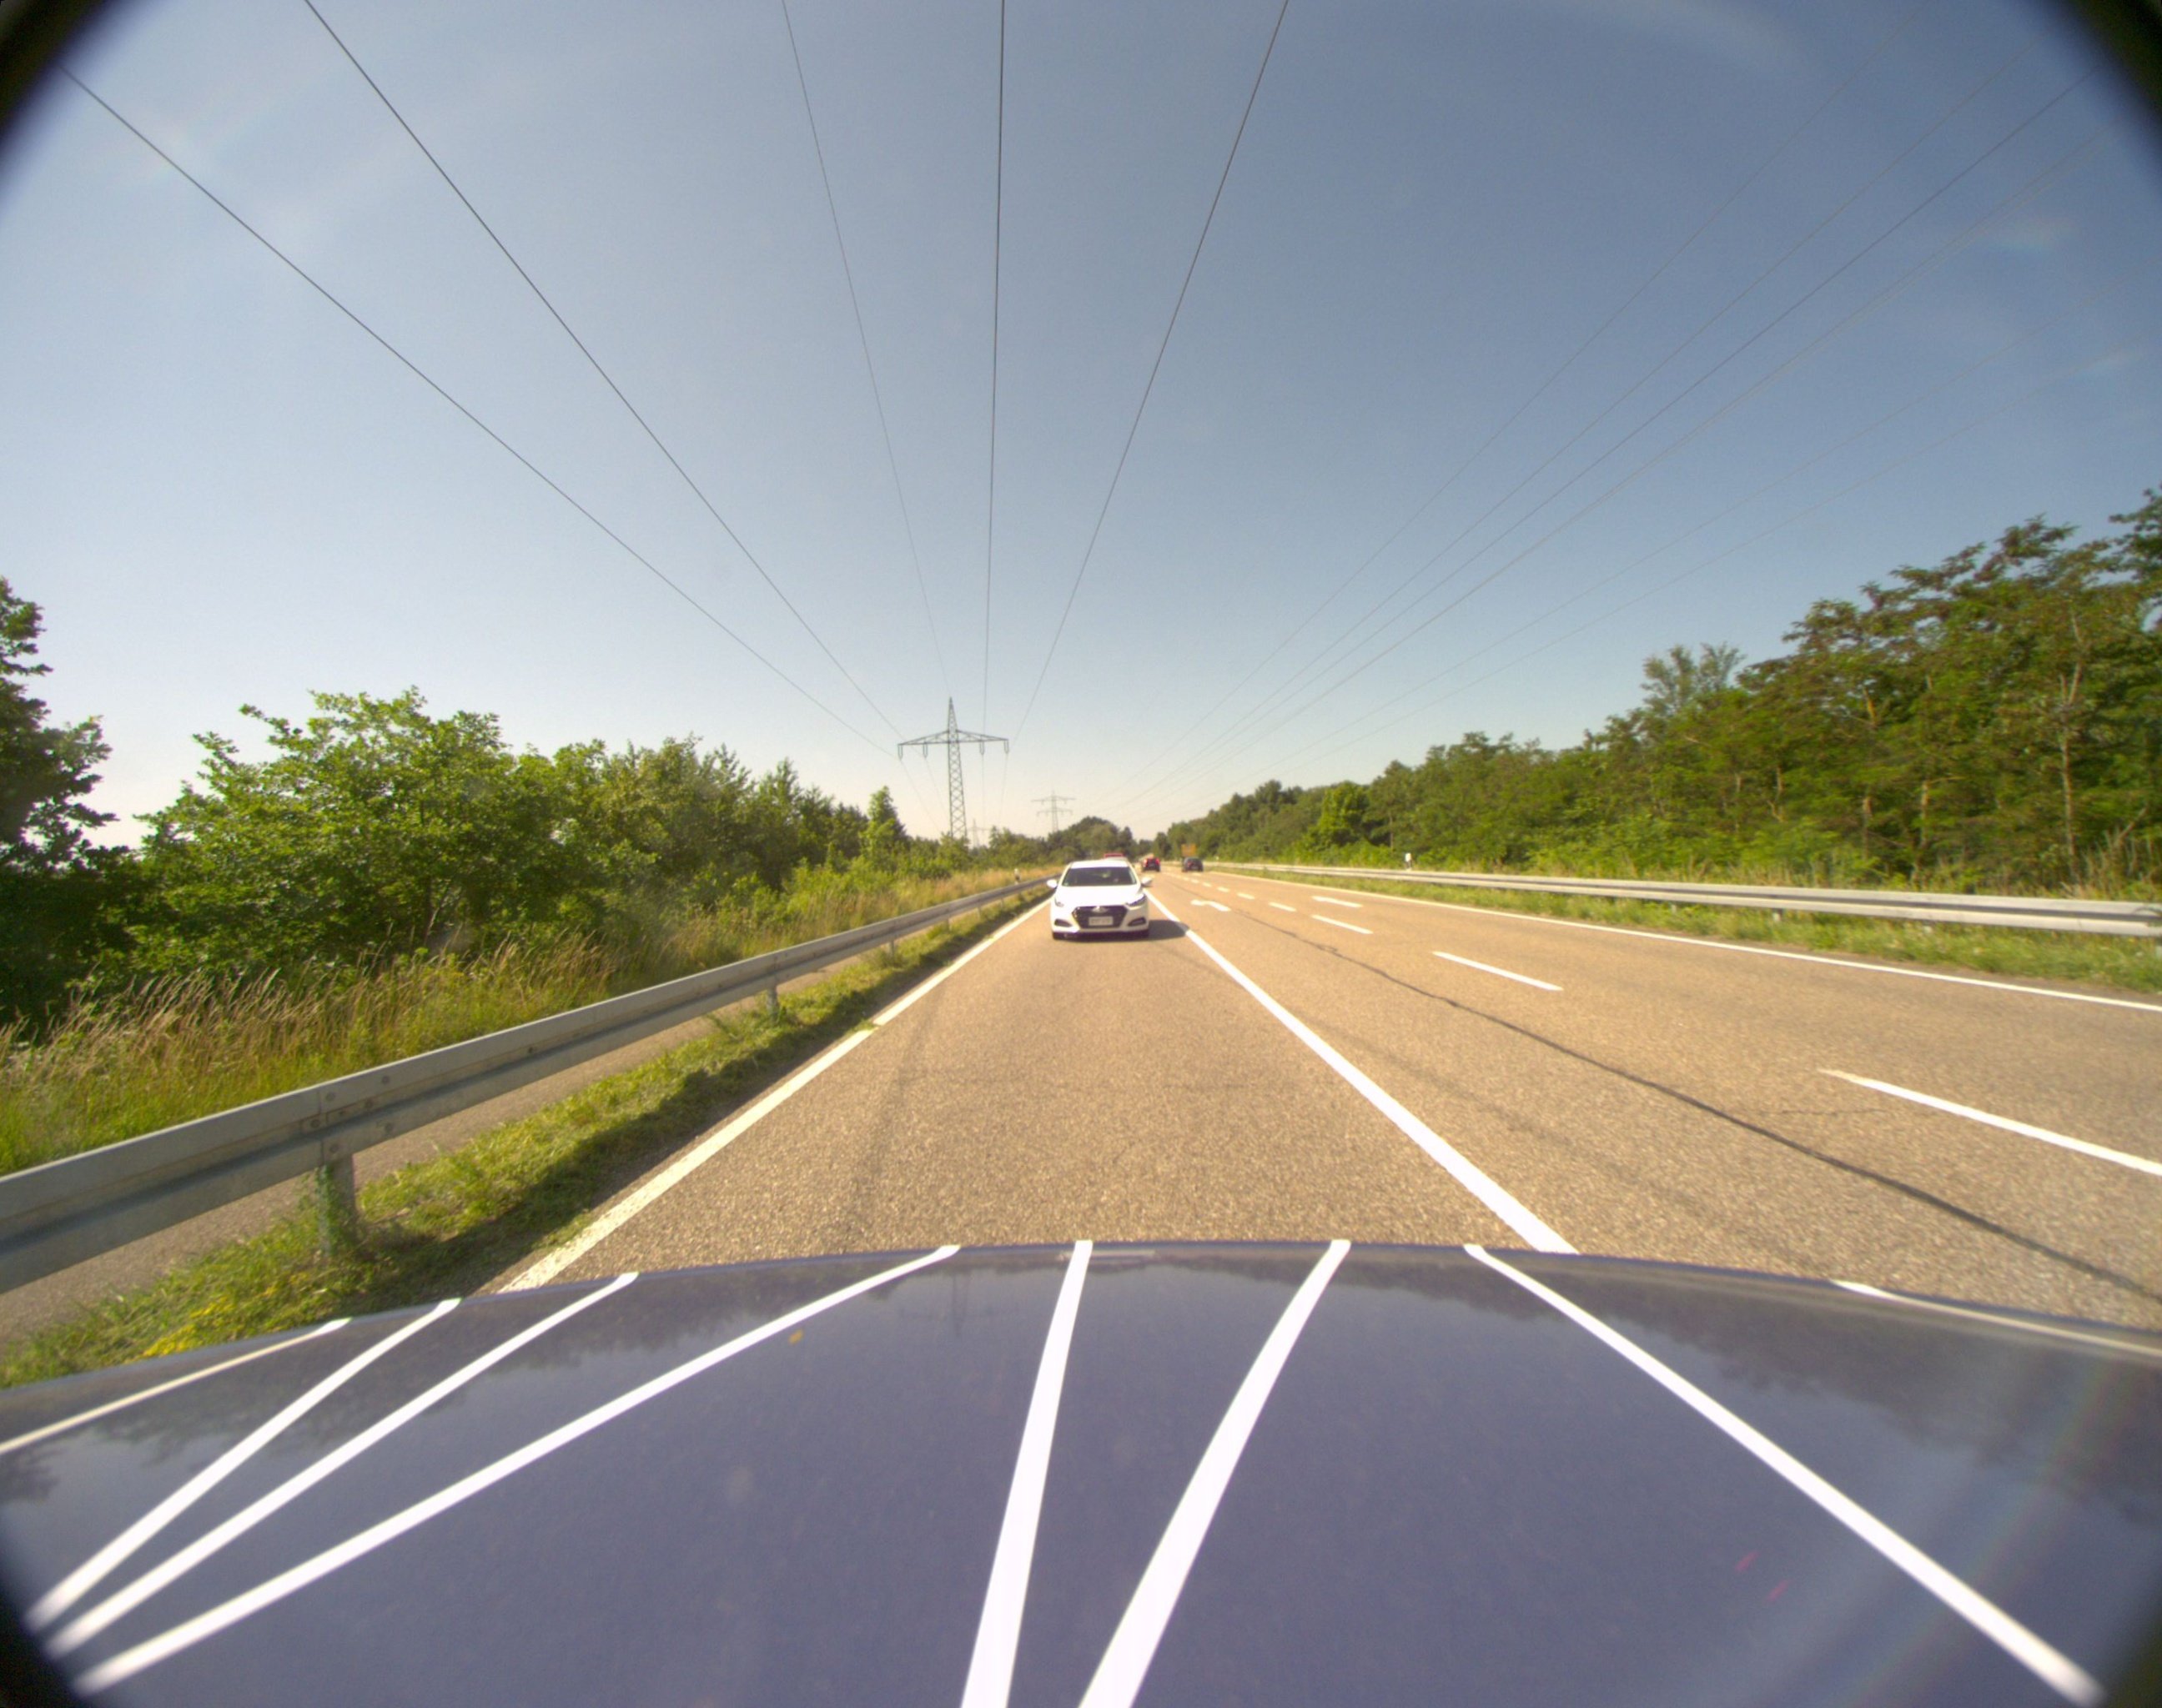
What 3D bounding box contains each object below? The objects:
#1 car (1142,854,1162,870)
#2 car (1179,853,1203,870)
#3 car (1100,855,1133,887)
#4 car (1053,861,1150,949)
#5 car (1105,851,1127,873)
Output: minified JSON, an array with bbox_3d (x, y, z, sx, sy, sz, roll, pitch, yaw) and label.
[{"bbox_3d":[7.403,0.818,79.470,1.731,1.482,4.423,-2,0,1],"label":"car"},{"bbox_3d":[10.324,0.670,71.524,1.663,1.433,4.169,-2,0,2],"label":"car"},{"bbox_3d":[1.775,0.835,38.533,1.549,1.460,3.661,-2,0,1],"label":"car"},{"bbox_3d":[0.434,0.916,15.596,1.683,1.471,4.474,-1,0,2],"label":"car"},{"bbox_3d":[3.123,0.698,68.461,1.794,1.892,4.838,-2,0,1],"label":"car"}]
